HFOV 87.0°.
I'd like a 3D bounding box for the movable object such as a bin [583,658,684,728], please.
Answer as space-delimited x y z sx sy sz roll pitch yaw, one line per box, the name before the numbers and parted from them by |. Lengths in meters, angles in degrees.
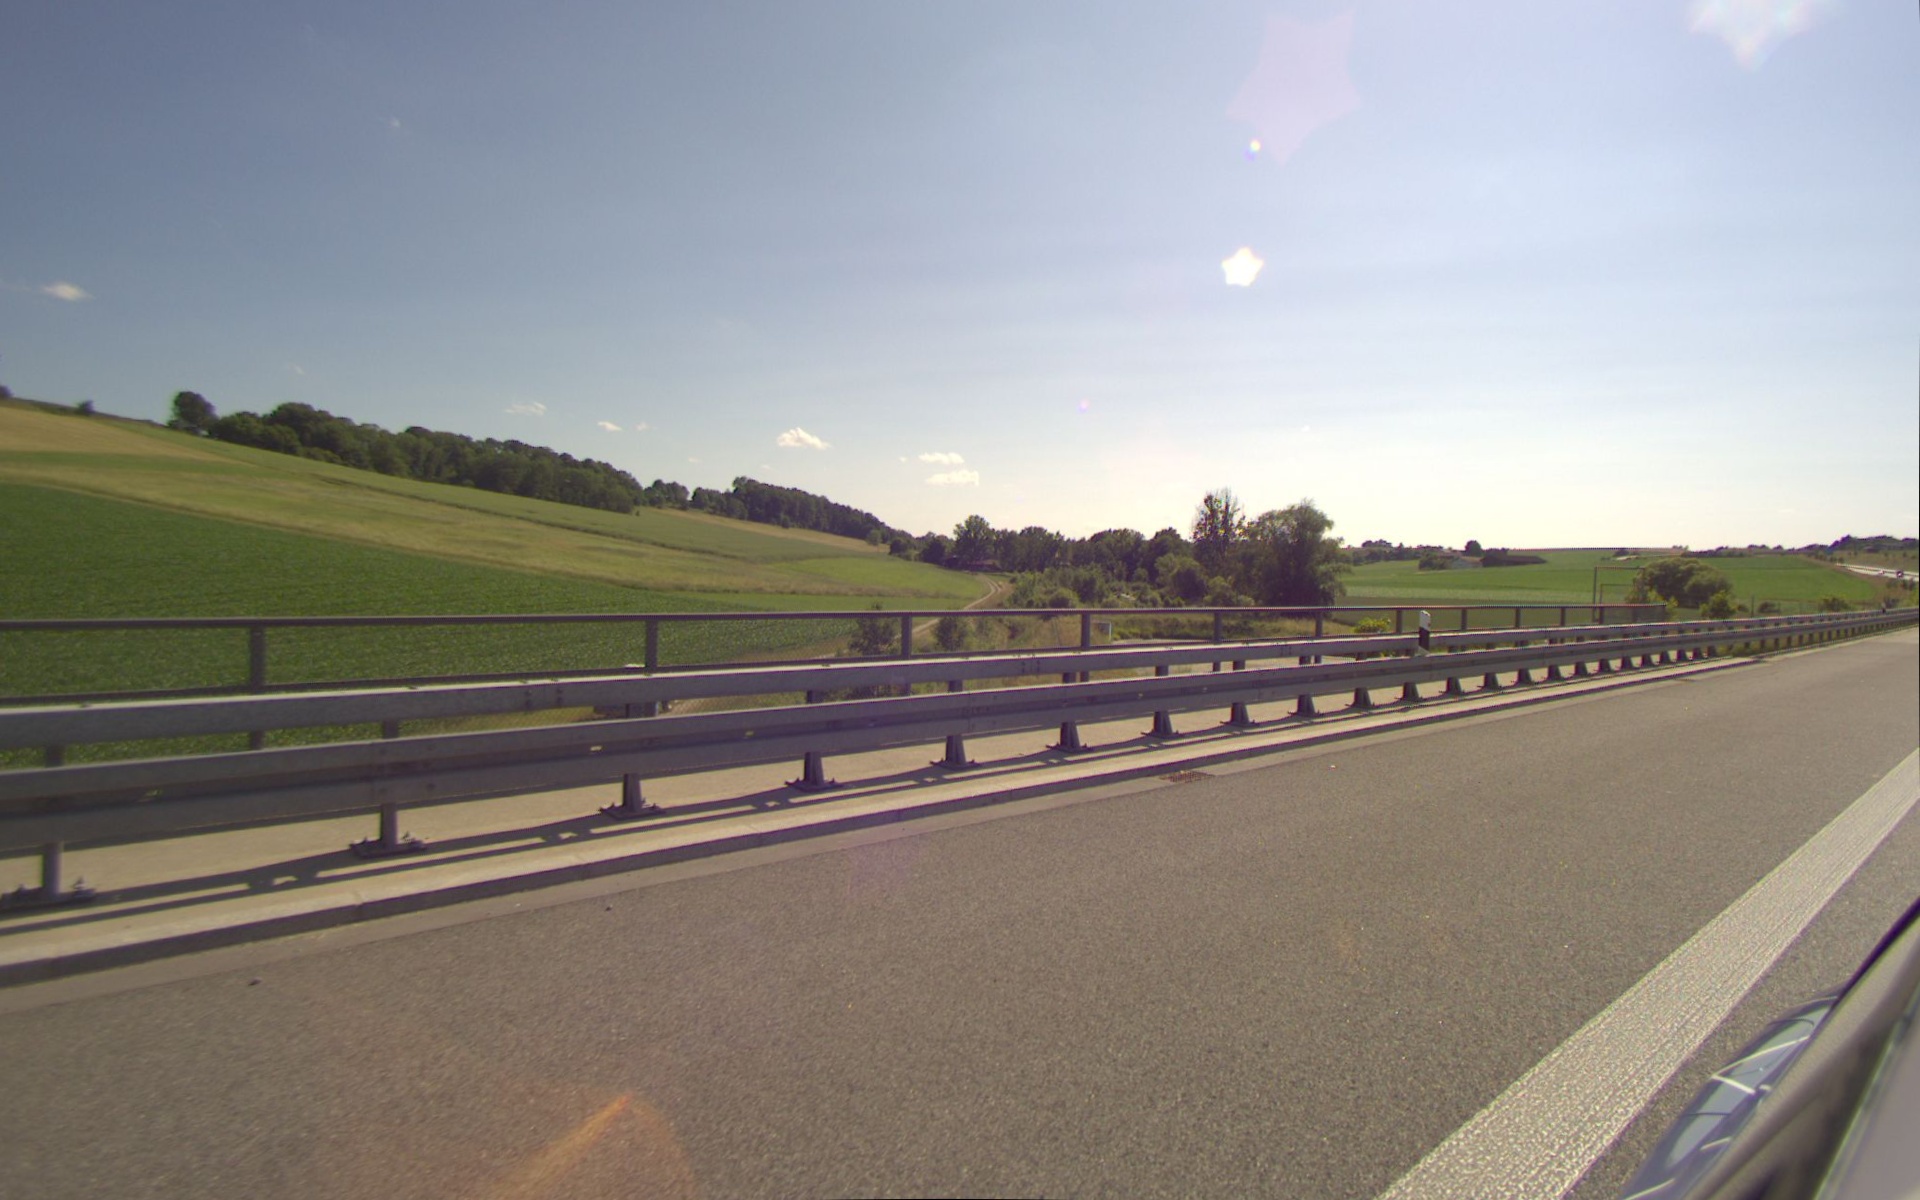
movable object such as a bin | -16.440 4.604 51.436 3.223 2.805 6.235 -1 1 -1
